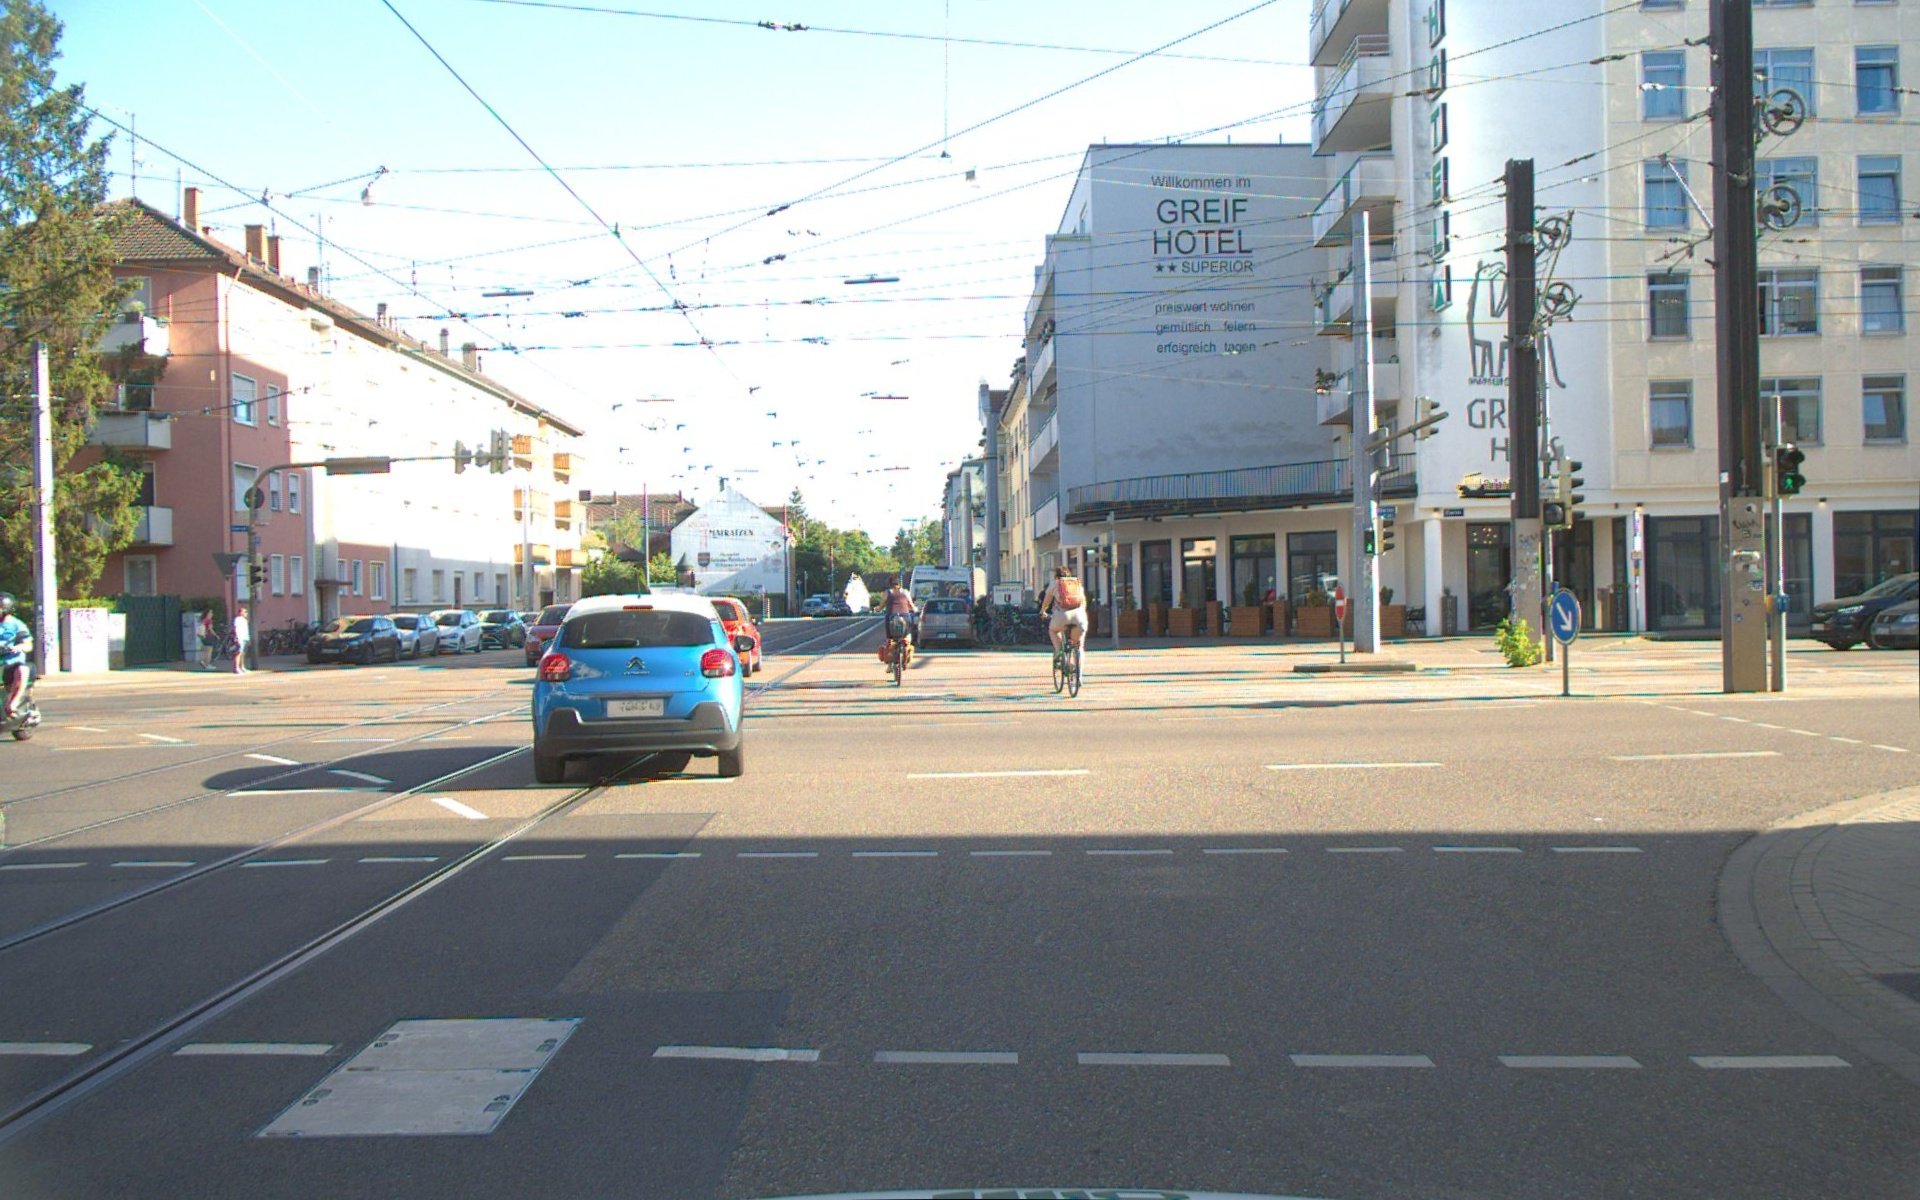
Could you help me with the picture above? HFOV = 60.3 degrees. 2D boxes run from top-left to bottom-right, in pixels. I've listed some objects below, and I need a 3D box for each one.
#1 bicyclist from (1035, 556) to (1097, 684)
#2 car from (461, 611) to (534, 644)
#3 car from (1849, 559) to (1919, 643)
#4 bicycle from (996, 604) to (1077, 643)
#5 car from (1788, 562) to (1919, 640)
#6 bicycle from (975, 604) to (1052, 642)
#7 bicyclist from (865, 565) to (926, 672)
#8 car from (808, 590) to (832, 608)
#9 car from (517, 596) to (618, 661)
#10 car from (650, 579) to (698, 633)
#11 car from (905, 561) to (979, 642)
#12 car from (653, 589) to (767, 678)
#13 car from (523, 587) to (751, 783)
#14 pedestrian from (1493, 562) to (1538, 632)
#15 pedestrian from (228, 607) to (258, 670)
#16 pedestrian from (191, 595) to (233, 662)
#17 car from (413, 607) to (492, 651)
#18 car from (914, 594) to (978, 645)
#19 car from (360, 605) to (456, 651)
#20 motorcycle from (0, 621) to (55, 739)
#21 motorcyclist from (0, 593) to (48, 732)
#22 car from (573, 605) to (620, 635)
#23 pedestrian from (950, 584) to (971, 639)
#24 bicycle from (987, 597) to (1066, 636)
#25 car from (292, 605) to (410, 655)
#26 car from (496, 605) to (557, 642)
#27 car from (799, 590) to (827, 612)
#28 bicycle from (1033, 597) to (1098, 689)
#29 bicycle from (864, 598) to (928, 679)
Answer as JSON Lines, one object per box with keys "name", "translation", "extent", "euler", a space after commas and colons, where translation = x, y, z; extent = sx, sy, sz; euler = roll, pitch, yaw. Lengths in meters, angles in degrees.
{"name": "bicyclist", "translation": [1.463, 0.268, 22.706], "extent": [0.793, 1.721, 0.936], "euler": [1, 0, 6]}
{"name": "car", "translation": [-18.902, 1.114, 67.726], "extent": [1.908, 1.261, 4.281], "euler": [1, 0, -2]}
{"name": "car", "translation": [19.725, 0.006, 31.684], "extent": [4.346, 1.575, 1.937], "euler": [0, 0, 2]}
{"name": "bicycle", "translation": [2.162, 0.662, 46.991], "extent": [2.206, 1.019, 0.856], "euler": [-3, 0, -3]}
{"name": "car", "translation": [20.078, 0.016, 35.258], "extent": [3.950, 1.603, 1.795], "euler": [0, 0, -1]}
{"name": "bicycle", "translation": [1.590, 0.682, 49.450], "extent": [2.206, 1.019, 0.856], "euler": [-3, 0, -3]}
{"name": "bicyclist", "translation": [-1.038, 0.297, 27.029], "extent": [0.921, 1.702, 1.079], "euler": [1, 0, 1]}
{"name": "car", "translation": [-14.319, -0.116, 169.343], "extent": [2.032, 1.793, 5.035], "euler": [1, 0, -1]}
{"name": "car", "translation": [-9.750, 0.683, 41.340], "extent": [1.743, 1.512, 3.826], "euler": [-2, 0, -3]}
{"name": "car", "translation": [-17.402, 0.354, 100.791], "extent": [2.369, 3.197, 3.488], "euler": [1, 0, -1]}
{"name": "car", "translation": [-0.634, 0.039, 54.075], "extent": [2.220, 2.525, 5.005], "euler": [0, 0, -3]}
{"name": "car", "translation": [-4.712, 0.594, 31.592], "extent": [1.749, 1.548, 3.760], "euler": [1, 1, -3]}
{"name": "car", "translation": [-2.716, 0.645, 14.449], "extent": [1.704, 1.478, 3.655], "euler": [0, 0, -8]}
{"name": "pedestrian", "translation": [14.310, -0.074, 42.611], "extent": [0.888, 1.777, 0.737], "euler": [1, 0, -2]}
{"name": "pedestrian", "translation": [-18.563, 0.996, 42.828], "extent": [0.506, 1.596, 0.573], "euler": [1, 0, -1]}
{"name": "pedestrian", "translation": [-20.044, 0.758, 44.301], "extent": [0.691, 1.752, 0.780], "euler": [0, -1, 38]}
{"name": "car", "translation": [-18.753, 1.048, 61.288], "extent": [1.706, 1.553, 4.228], "euler": [1, 0, -1]}
{"name": "car", "translation": [-0.444, 0.560, 49.000], "extent": [1.625, 1.456, 3.885], "euler": [1, 0, -4]}
{"name": "car", "translation": [-18.694, 0.921, 56.170], "extent": [1.864, 1.462, 4.102], "euler": [1, 0, 0]}
{"name": "motorcycle", "translation": [-10.644, 0.885, 18.374], "extent": [0.701, 1.241, 1.955], "euler": [-1, -2, -19]}
{"name": "motorcyclist", "translation": [-10.675, 0.700, 18.539], "extent": [0.683, 1.523, 0.680], "euler": [-1, -2, -19]}
{"name": "car", "translation": [-19.633, 1.066, 89.480], "extent": [1.832, 1.604, 3.997], "euler": [1, 0, -3]}
{"name": "pedestrian", "translation": [0.008, 0.360, 51.216], "extent": [0.601, 1.683, 0.670], "euler": [1, 0, -4]}
{"name": "bicycle", "translation": [1.929, 0.488, 48.345], "extent": [2.206, 1.019, 0.856], "euler": [-3, 0, -3]}
{"name": "car", "translation": [-18.630, 0.952, 50.804], "extent": [2.111, 1.457, 4.437], "euler": [1, -2, -3]}
{"name": "car", "translation": [-19.347, 1.023, 73.939], "extent": [1.832, 1.604, 3.997], "euler": [1, 0, -3]}
{"name": "car", "translation": [-13.502, 0.114, 151.796], "extent": [2.173, 1.965, 4.948], "euler": [1, 0, -1]}
{"name": "bicycle", "translation": [1.477, 0.569, 22.877], "extent": [0.793, 1.202, 2.065], "euler": [1, 0, 6]}
{"name": "bicycle", "translation": [-1.029, 0.608, 26.974], "extent": [0.921, 1.245, 2.094], "euler": [1, 0, 1]}
